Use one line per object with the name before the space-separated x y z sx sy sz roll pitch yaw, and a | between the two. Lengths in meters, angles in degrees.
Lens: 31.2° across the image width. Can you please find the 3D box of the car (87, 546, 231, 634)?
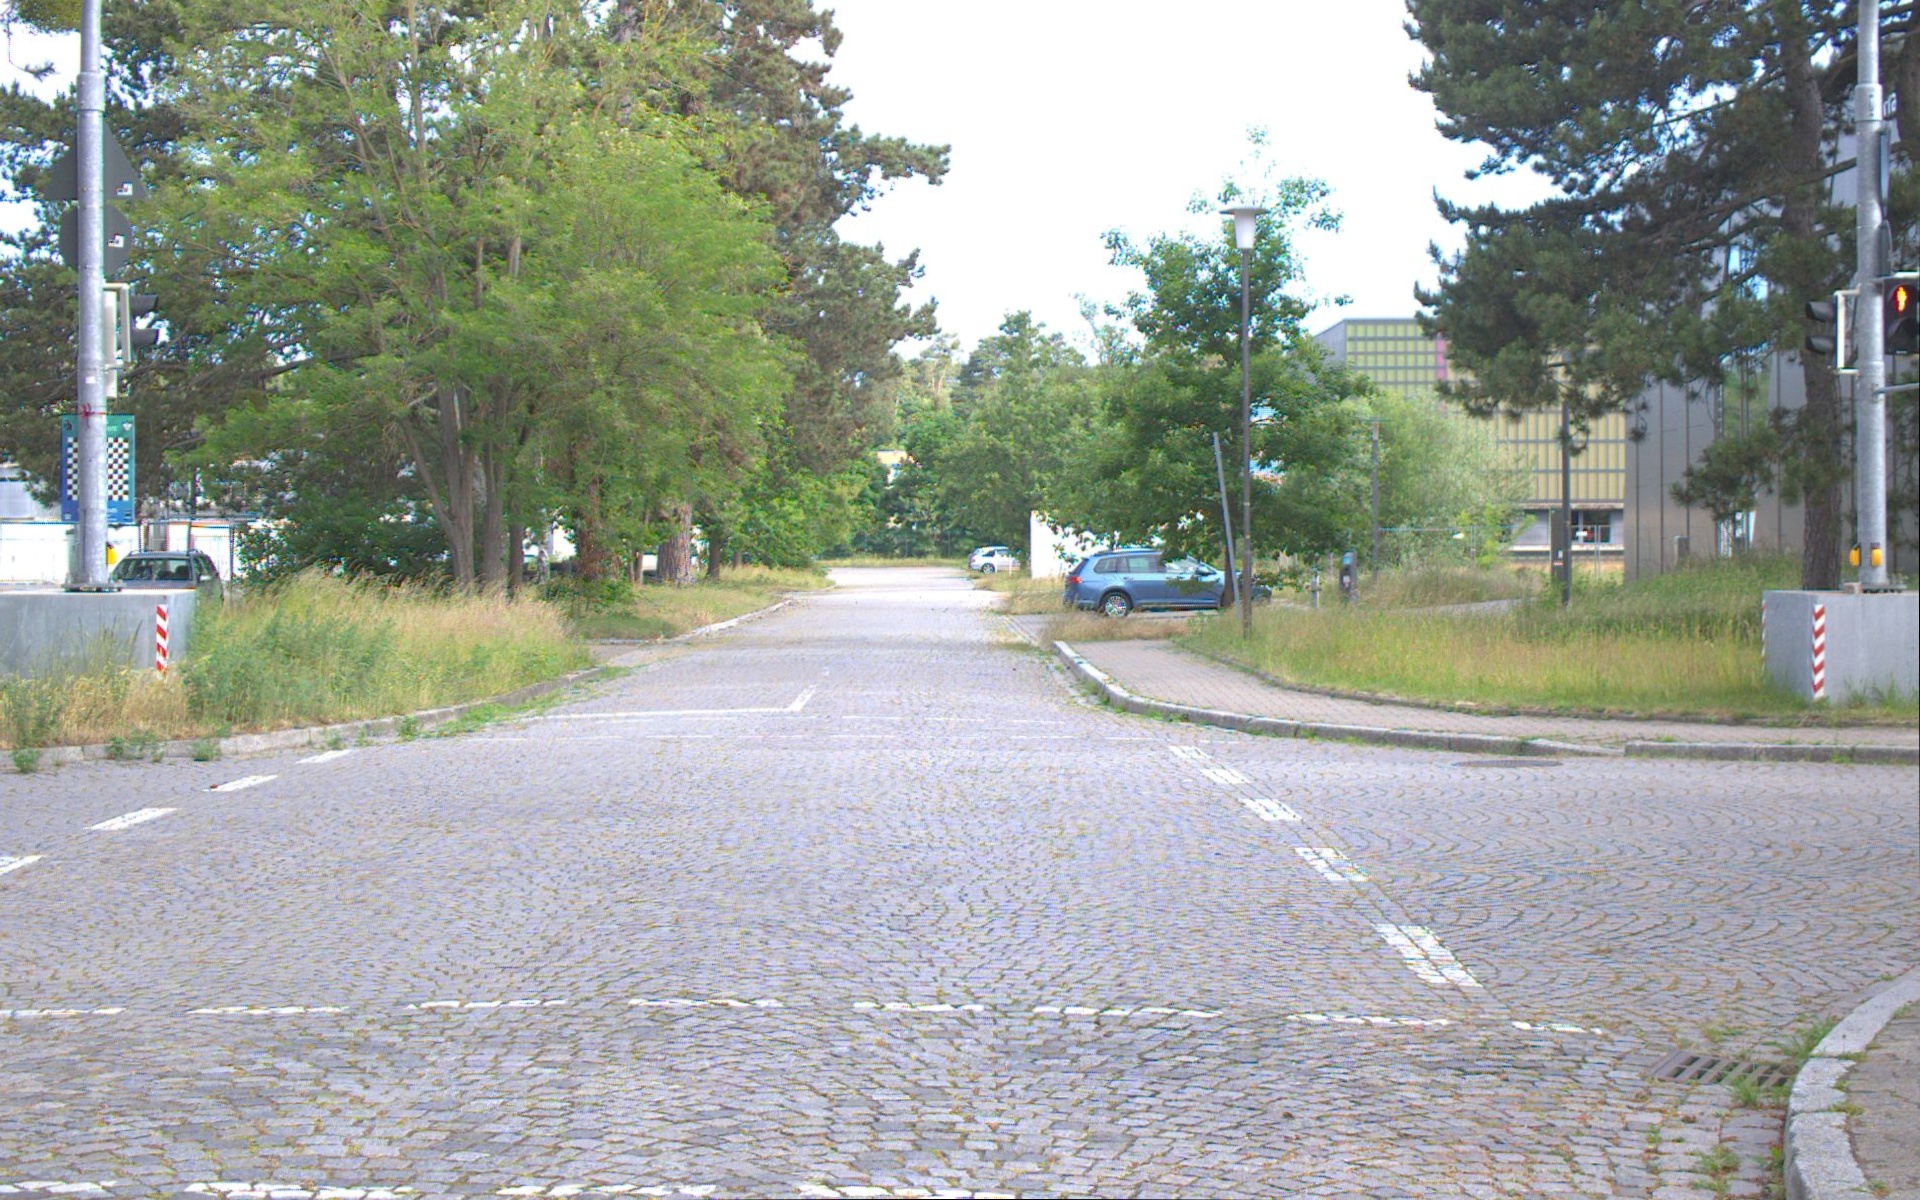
car | -13.963 -0.200 60.106 1.613 1.482 4.000 0 1 0

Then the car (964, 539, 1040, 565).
car | 2.340 -2.676 192.101 3.986 1.393 2.000 0 1 -6

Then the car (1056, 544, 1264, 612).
car | 4.341 -0.488 75.034 4.343 1.417 2.000 0 1 -2
